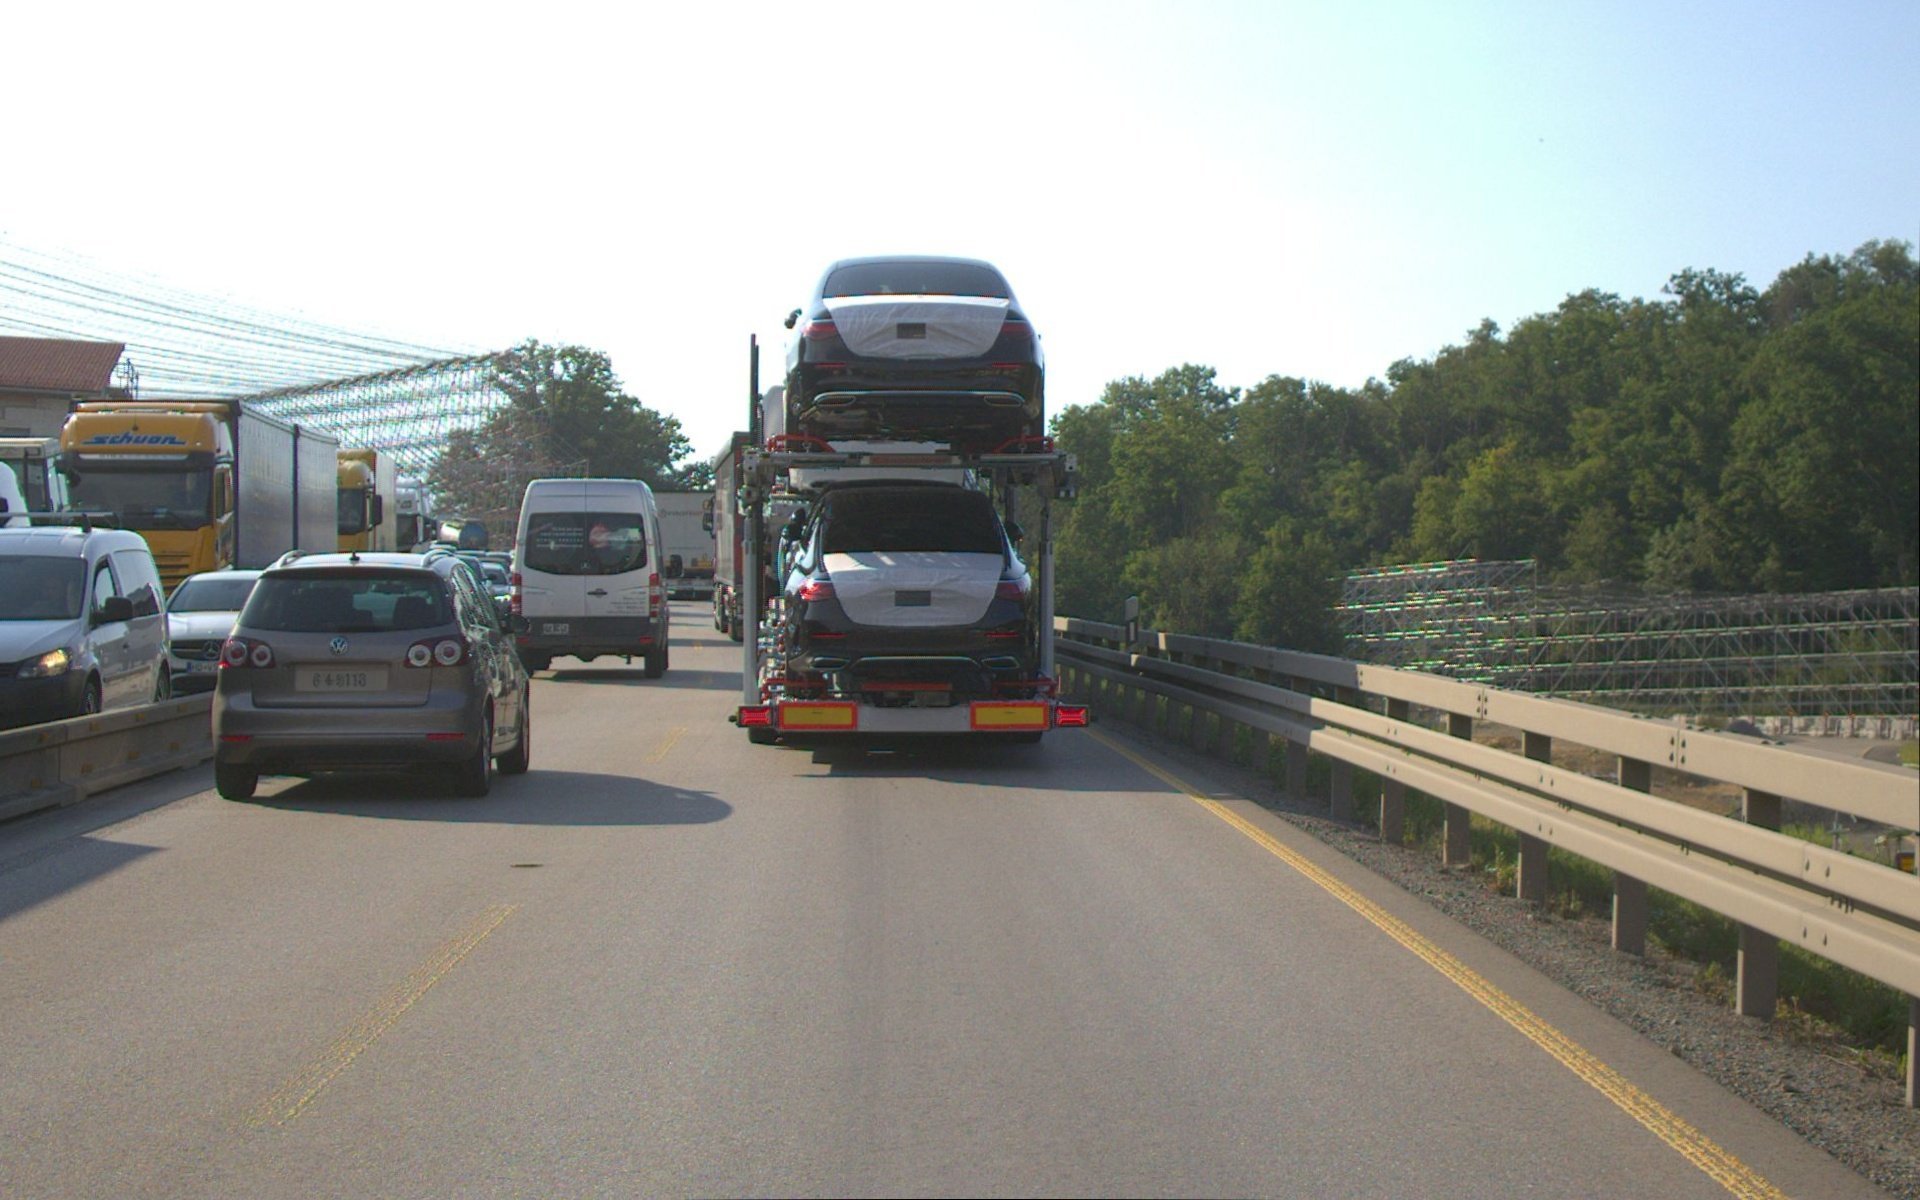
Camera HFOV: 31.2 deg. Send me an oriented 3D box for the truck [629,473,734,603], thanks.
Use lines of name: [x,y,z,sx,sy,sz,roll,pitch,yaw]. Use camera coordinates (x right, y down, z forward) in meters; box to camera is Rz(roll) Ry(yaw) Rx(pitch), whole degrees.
truck: [-10.595,-2.348,129.726,3.647,4.661,11.698,0,1,-6]

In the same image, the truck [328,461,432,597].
truck: [-18.298,-2.101,109.122,2.808,3.956,13.896,0,0,-8]

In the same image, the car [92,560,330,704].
car: [-8.532,0.341,39.565,1.803,1.516,4.817,-1,0,-2]

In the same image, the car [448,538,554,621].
car: [-9.594,-0.406,72.138,1.926,1.696,4.692,0,0,-4]

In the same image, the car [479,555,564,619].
car: [-10.515,-0.293,82.615,1.788,1.492,4.725,0,0,-4]

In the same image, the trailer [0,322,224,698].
trailer: [-11.367,-0.923,40.434,2.748,3.803,16.048,-1,0,-3]

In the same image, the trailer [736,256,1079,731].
trailer: [-0.752,-0.867,36.476,2.874,3.980,15.280,0,0,-2]

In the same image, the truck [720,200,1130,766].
truck: [-0.359,-0.811,27.004,2.869,3.966,5.772,0,0,-2]

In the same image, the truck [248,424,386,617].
truck: [-14.297,-1.722,76.720,2.693,4.183,4.399,0,0,-6]

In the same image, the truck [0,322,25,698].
truck: [-10.907,-0.876,32.024,2.748,3.792,7.112,-1,0,-3]

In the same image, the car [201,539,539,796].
car: [-3.899,0.426,23.317,1.700,1.581,4.147,0,0,-2]

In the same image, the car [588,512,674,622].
car: [-6.371,-0.612,66.652,1.528,2.007,4.001,2,-1,-5]

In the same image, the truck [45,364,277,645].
truck: [-12.360,-1.400,53.619,2.701,4.127,5.795,0,0,-5]

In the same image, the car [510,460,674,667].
car: [-4.941,-0.463,46.620,1.979,2.675,4.147,0,0,-3]

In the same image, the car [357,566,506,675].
car: [-8.341,0.318,54.630,1.959,1.639,4.849,0,0,-4]

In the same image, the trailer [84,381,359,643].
trailer: [-13.089,-1.352,62.493,2.714,4.120,16.754,0,0,-5]

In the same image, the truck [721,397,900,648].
truck: [-3.195,-1.564,70.013,3.227,4.661,11.697,0,1,-4]

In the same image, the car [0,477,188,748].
car: [-7.465,0.135,27.256,1.823,1.927,5.131,-3,0,-4]
